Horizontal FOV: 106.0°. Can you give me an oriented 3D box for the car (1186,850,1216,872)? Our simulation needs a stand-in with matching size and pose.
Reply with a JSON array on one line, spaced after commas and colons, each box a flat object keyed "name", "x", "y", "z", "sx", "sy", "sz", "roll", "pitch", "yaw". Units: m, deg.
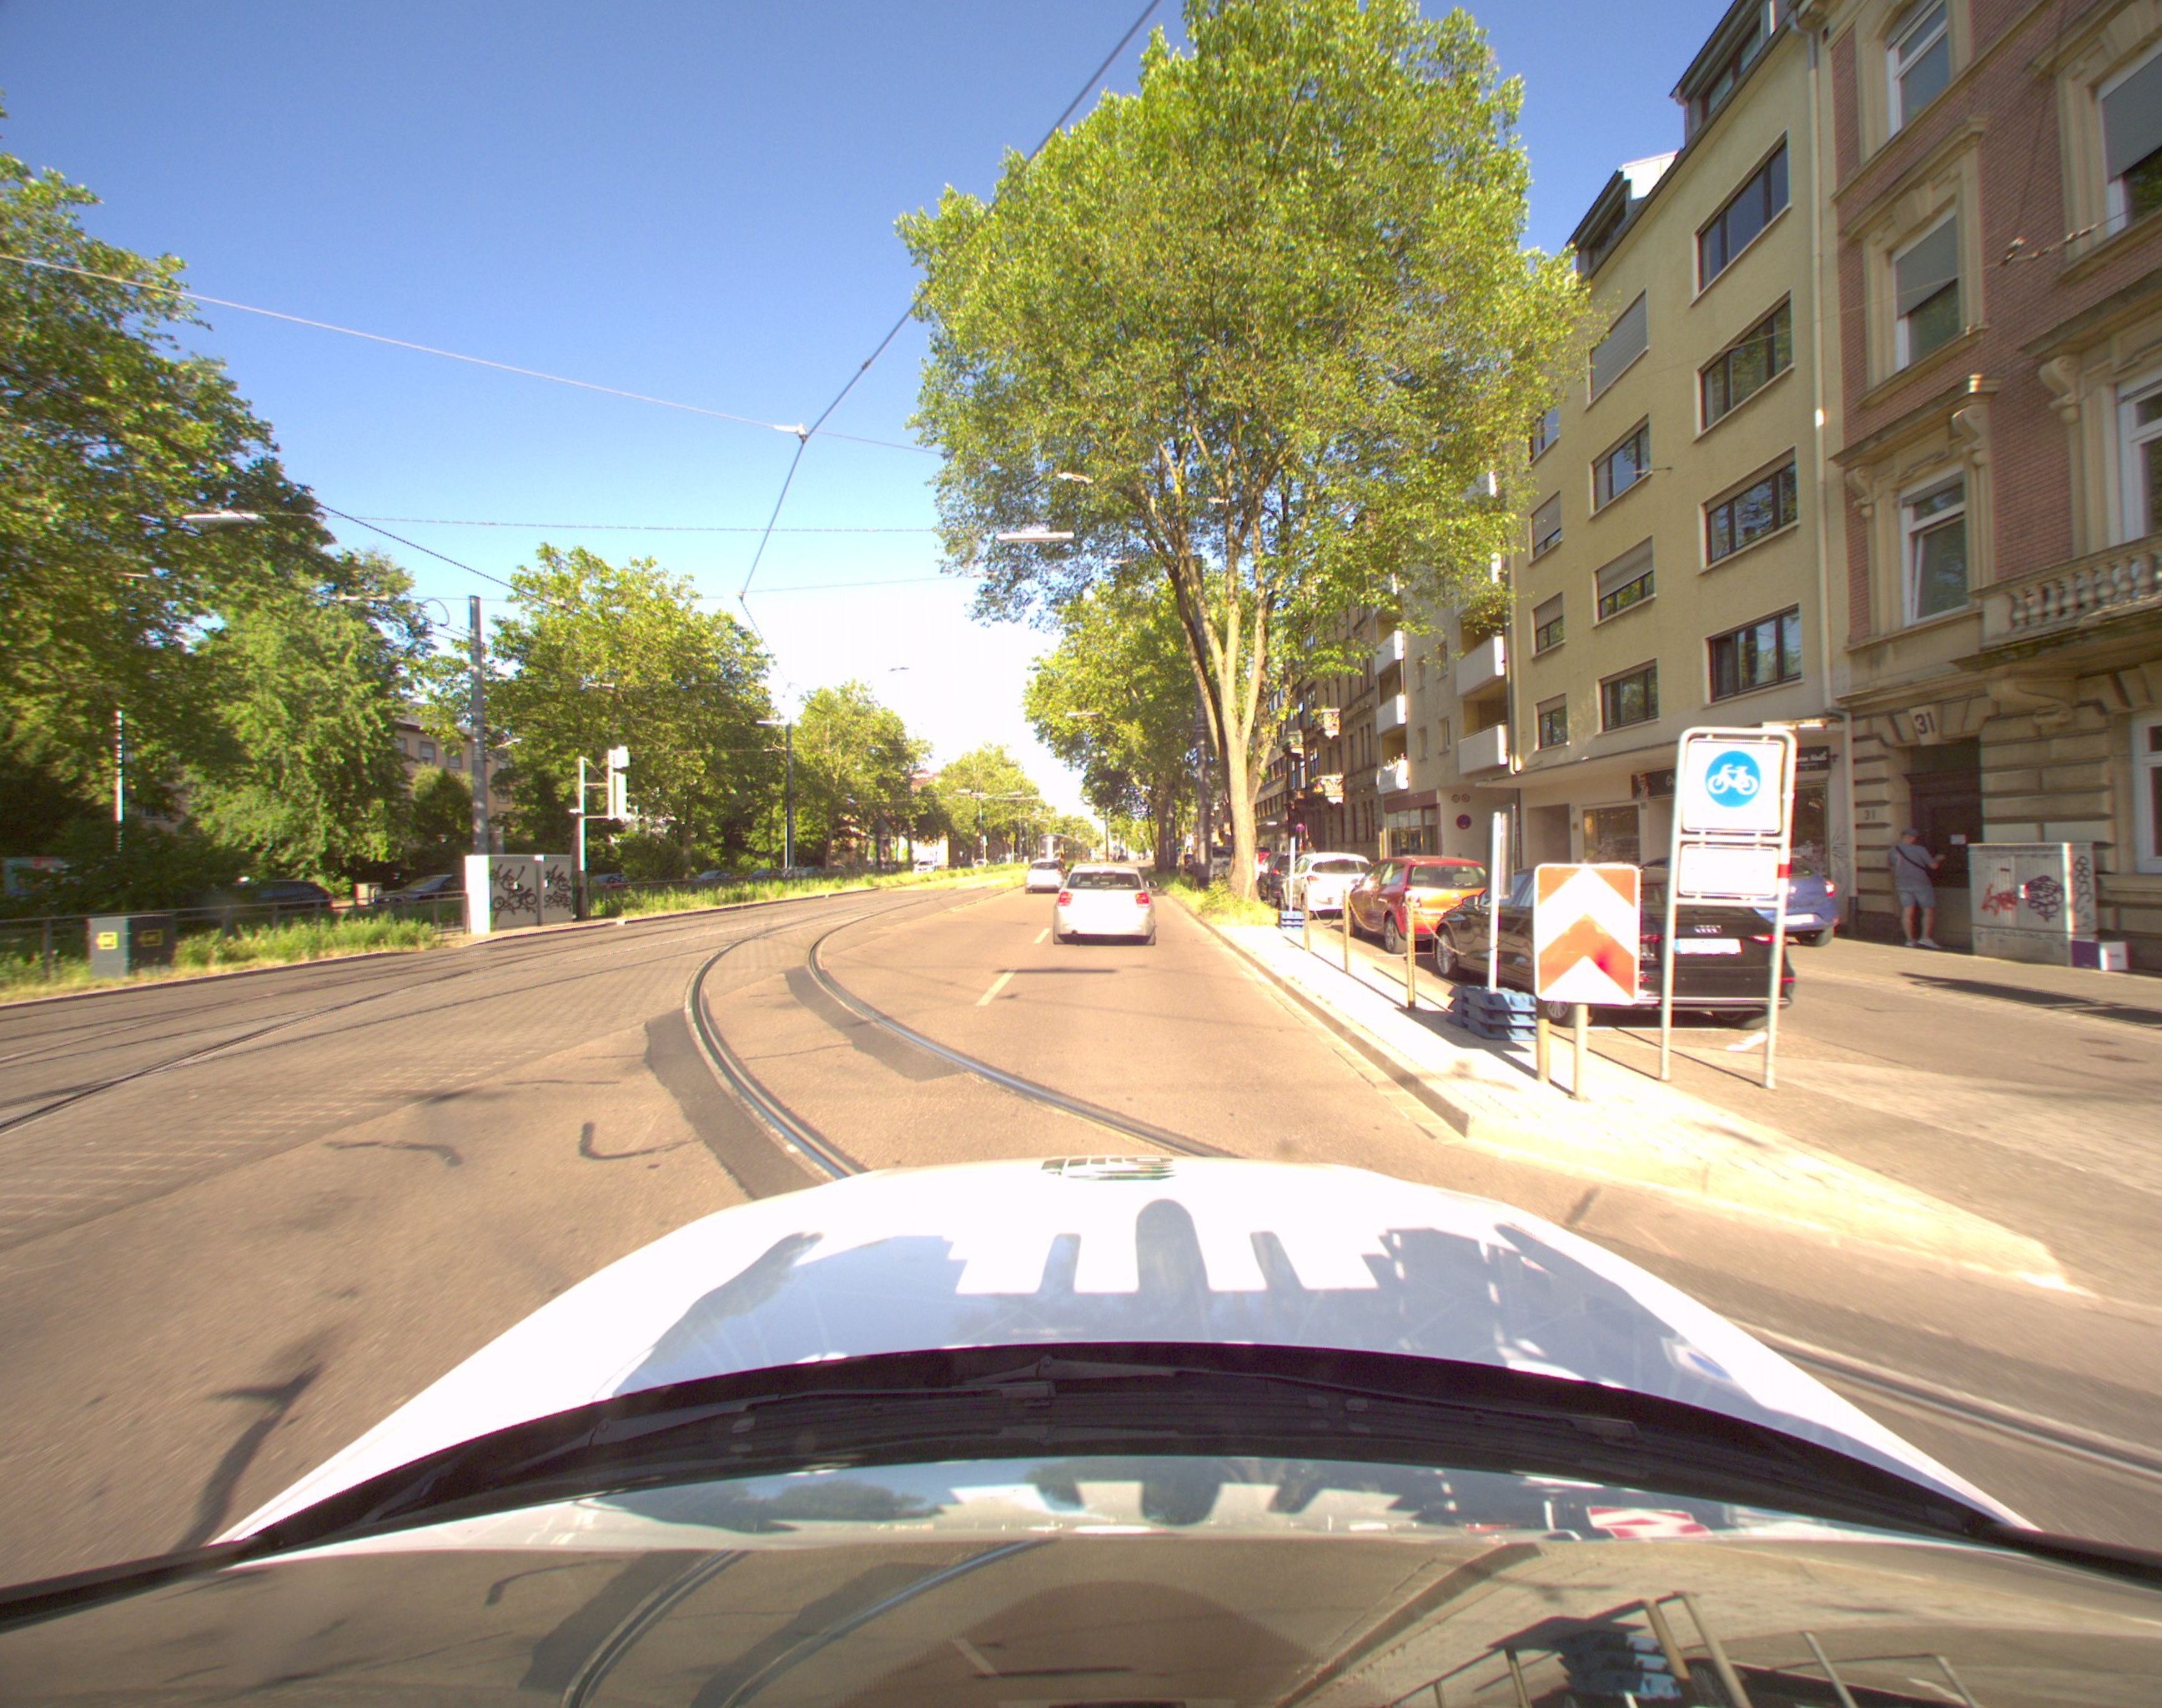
[{"name": "car", "x": 8.458, "y": 0.495, "z": 57.526, "sx": 1.670, "sy": 1.466, "sz": 4.673, "roll": 1, "pitch": 0, "yaw": 3}]

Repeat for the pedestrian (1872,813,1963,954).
[{"name": "pedestrian", "x": 12.387, "y": 0.411, "z": 12.086, "sx": 0.509, "sy": 2.013, "sz": 0.854, "roll": 1, "pitch": 0, "yaw": 7}]

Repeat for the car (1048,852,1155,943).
[{"name": "car", "x": 0.457, "y": 0.707, "z": 15.401, "sx": 1.755, "sy": 1.432, "sz": 4.004, "roll": 1, "pitch": 1, "yaw": 3}]

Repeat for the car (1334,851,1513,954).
[{"name": "car", "x": 5.515, "y": 0.686, "z": 13.649, "sx": 1.582, "sy": 1.434, "sz": 3.909, "roll": 1, "pitch": 1, "yaw": 4}]

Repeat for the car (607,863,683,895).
[{"name": "car", "x": -25.949, "y": 1.444, "z": 48.633, "sx": 1.986, "sy": 1.683, "sz": 4.516, "roll": 1, "pitch": 1, "yaw": 1}]

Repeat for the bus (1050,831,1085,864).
[{"name": "bus", "x": -1.455, "y": -0.734, "z": 93.821, "sx": 2.856, "sy": 3.444, "sz": 12.230, "roll": -1, "pitch": 0, "yaw": 4}]

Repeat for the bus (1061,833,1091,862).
[{"name": "bus", "x": -0.572, "y": -0.857, "z": 105.687, "sx": 2.856, "sy": 3.444, "sz": 11.625, "roll": -1, "pitch": 0, "yaw": 4}]

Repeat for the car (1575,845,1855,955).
[{"name": "car", "x": 10.505, "y": 0.653, "z": 13.937, "sx": 1.687, "sy": 1.480, "sz": 4.002, "roll": -4, "pitch": 0, "yaw": 2}]

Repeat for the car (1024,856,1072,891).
[{"name": "car", "x": -1.366, "y": 0.783, "z": 34.974, "sx": 1.639, "sy": 1.362, "sz": 3.764, "roll": 1, "pitch": 1, "yaw": 4}]

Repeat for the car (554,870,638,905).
[{"name": "car", "x": -25.518, "y": 1.703, "z": 43.021, "sx": 1.986, "sy": 1.622, "sz": 4.002, "roll": 1, "pitch": 1, "yaw": 2}]

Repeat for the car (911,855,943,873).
[{"name": "car", "x": -14.287, "y": 0.914, "z": 75.807, "sx": 1.878, "sy": 1.619, "sz": 4.602, "roll": 1, "pitch": 1, "yaw": 3}]

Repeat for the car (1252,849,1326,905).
[{"name": "car", "x": 5.992, "y": 0.606, "z": 23.818, "sx": 1.554, "sy": 1.485, "sz": 3.793, "roll": 1, "pitch": 1, "yaw": 6}]

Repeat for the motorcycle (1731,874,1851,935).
[{"name": "motorcycle", "x": 12.241, "y": 0.837, "z": 14.124, "sx": 0.483, "sy": 0.895, "sz": 1.875, "roll": -4, "pitch": 0, "yaw": 4}]

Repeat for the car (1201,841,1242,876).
[{"name": "car", "x": 7.652, "y": 0.219, "z": 44.737, "sx": 1.856, "sy": 1.815, "sz": 4.806, "roll": 1, "pitch": 1, "yaw": 5}]

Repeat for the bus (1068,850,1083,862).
[{"name": "bus", "x": -1.587, "y": 0.628, "z": 264.074, "sx": 2.856, "sy": 3.628, "sz": 24.633, "roll": -1, "pitch": 0, "yaw": 4}]

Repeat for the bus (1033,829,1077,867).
[{"name": "bus", "x": -2.444, "y": -0.602, "z": 81.195, "sx": 2.856, "sy": 3.444, "sz": 13.233, "roll": -1, "pitch": 0, "yaw": 4}]

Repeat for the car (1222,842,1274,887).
[{"name": "car", "x": 6.508, "y": 0.365, "z": 32.031, "sx": 1.617, "sy": 1.668, "sz": 4.149, "roll": 1, "pitch": 1, "yaw": 6}]

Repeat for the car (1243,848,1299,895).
[{"name": "car", "x": 6.470, "y": 0.540, "z": 27.967, "sx": 1.504, "sy": 1.480, "sz": 3.499, "roll": 1, "pitch": 1, "yaw": 7}]

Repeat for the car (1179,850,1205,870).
[{"name": "car", "x": 8.708, "y": 0.423, "z": 63.995, "sx": 1.797, "sy": 1.490, "sz": 4.927, "roll": 1, "pitch": 0, "yaw": 5}]

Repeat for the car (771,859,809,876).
[{"name": "car", "x": -23.421, "y": 1.074, "z": 65.574, "sx": 1.561, "sy": 1.312, "sz": 3.508, "roll": 1, "pitch": 1, "yaw": 4}]

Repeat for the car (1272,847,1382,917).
[{"name": "car", "x": 5.757, "y": 0.589, "z": 19.492, "sx": 1.620, "sy": 1.477, "sz": 3.699, "roll": 1, "pitch": 1, "yaw": 2}]

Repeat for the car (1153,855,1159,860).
[{"name": "car", "x": 22.267, "y": 0.977, "z": 241.979, "sx": 1.693, "sy": 1.534, "sz": 3.721, "roll": 1, "pitch": 1, "yaw": 4}]

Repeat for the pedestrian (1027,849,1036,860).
[{"name": "pedestrian", "x": -7.257, "y": 0.102, "z": 119.189, "sx": 1.174, "sy": 1.643, "sz": 0.891, "roll": -1, "pitch": -1, "yaw": -3}]

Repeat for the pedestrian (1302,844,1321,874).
[{"name": "pedestrian", "x": 14.204, "y": 0.321, "z": 50.232, "sx": 0.994, "sy": 1.840, "sz": 0.716, "roll": -1, "pitch": 0, "yaw": 5}]

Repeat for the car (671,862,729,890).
[{"name": "car", "x": -25.168, "y": 1.453, "z": 53.935, "sx": 1.814, "sy": 1.683, "sz": 4.003, "roll": 1, "pitch": 1, "yaw": 3}]

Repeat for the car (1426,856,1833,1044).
[{"name": "car", "x": 5.261, "y": 0.767, "z": 8.596, "sx": 1.689, "sy": 1.421, "sz": 4.173, "roll": 1, "pitch": 1, "yaw": 4}]
